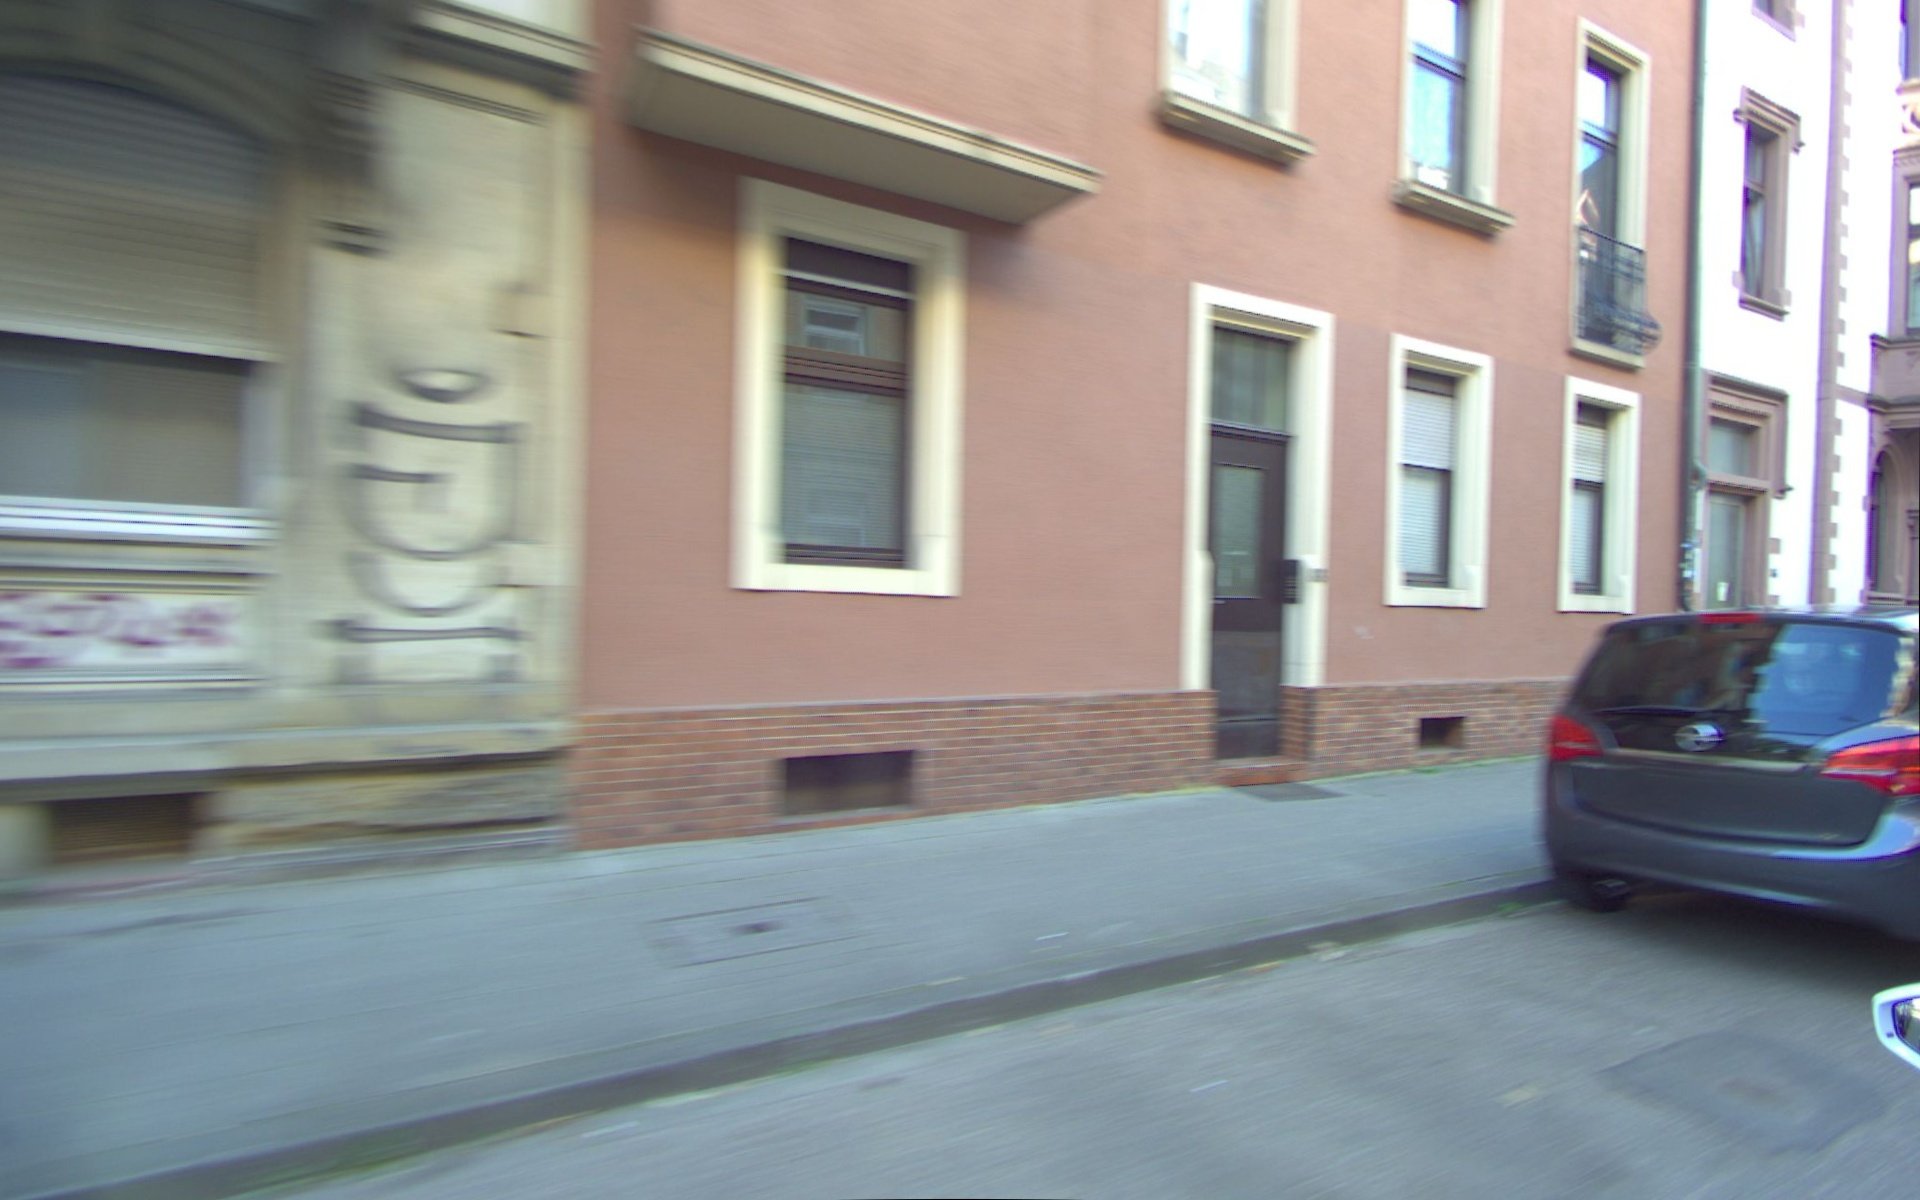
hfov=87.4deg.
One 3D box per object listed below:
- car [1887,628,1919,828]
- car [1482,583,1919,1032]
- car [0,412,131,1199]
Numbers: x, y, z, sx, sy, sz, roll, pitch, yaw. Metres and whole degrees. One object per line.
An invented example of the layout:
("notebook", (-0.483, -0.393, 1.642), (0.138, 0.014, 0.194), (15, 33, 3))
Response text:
("car", (9.202, 0.973, 7.930), (3.873, 1.493, 1.686), (1, -3, -30))
("car", (4.815, 0.788, 5.365), (4.023, 1.627, 1.772), (1, 0, -32))
("car", (-3.311, 0.477, 0.526), (4.138, 1.639, 1.753), (1, 0, -30))
